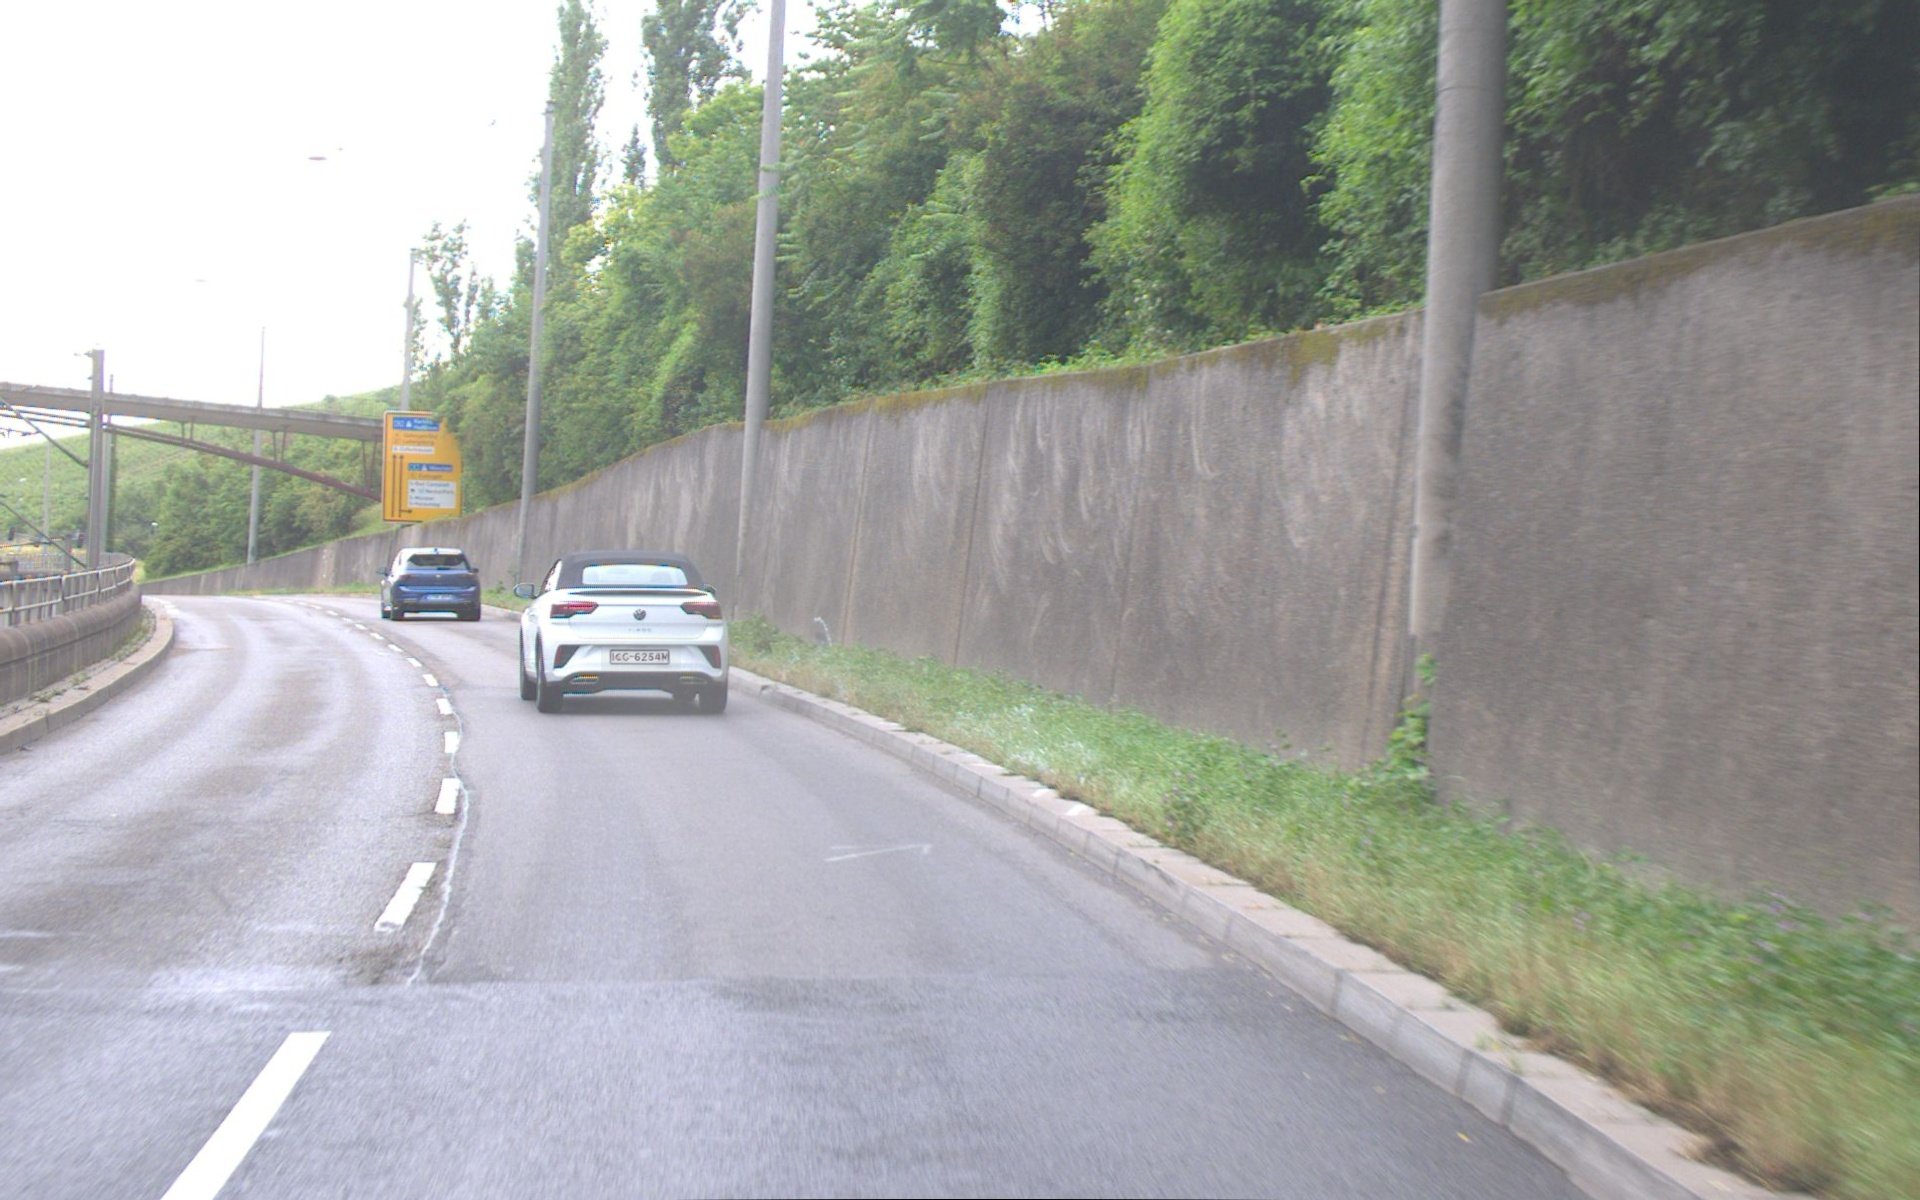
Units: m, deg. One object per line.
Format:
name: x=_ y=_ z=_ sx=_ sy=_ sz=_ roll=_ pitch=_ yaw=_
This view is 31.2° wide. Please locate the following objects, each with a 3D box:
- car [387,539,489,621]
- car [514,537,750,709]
car: x=-10.471 y=-0.421 z=69.137 sx=1.926 sy=1.594 sz=4.062 roll=0 pitch=1 yaw=-7
car: x=-3.267 y=0.183 z=33.533 sx=1.995 sy=1.573 sz=4.127 roll=0 pitch=1 yaw=-10
